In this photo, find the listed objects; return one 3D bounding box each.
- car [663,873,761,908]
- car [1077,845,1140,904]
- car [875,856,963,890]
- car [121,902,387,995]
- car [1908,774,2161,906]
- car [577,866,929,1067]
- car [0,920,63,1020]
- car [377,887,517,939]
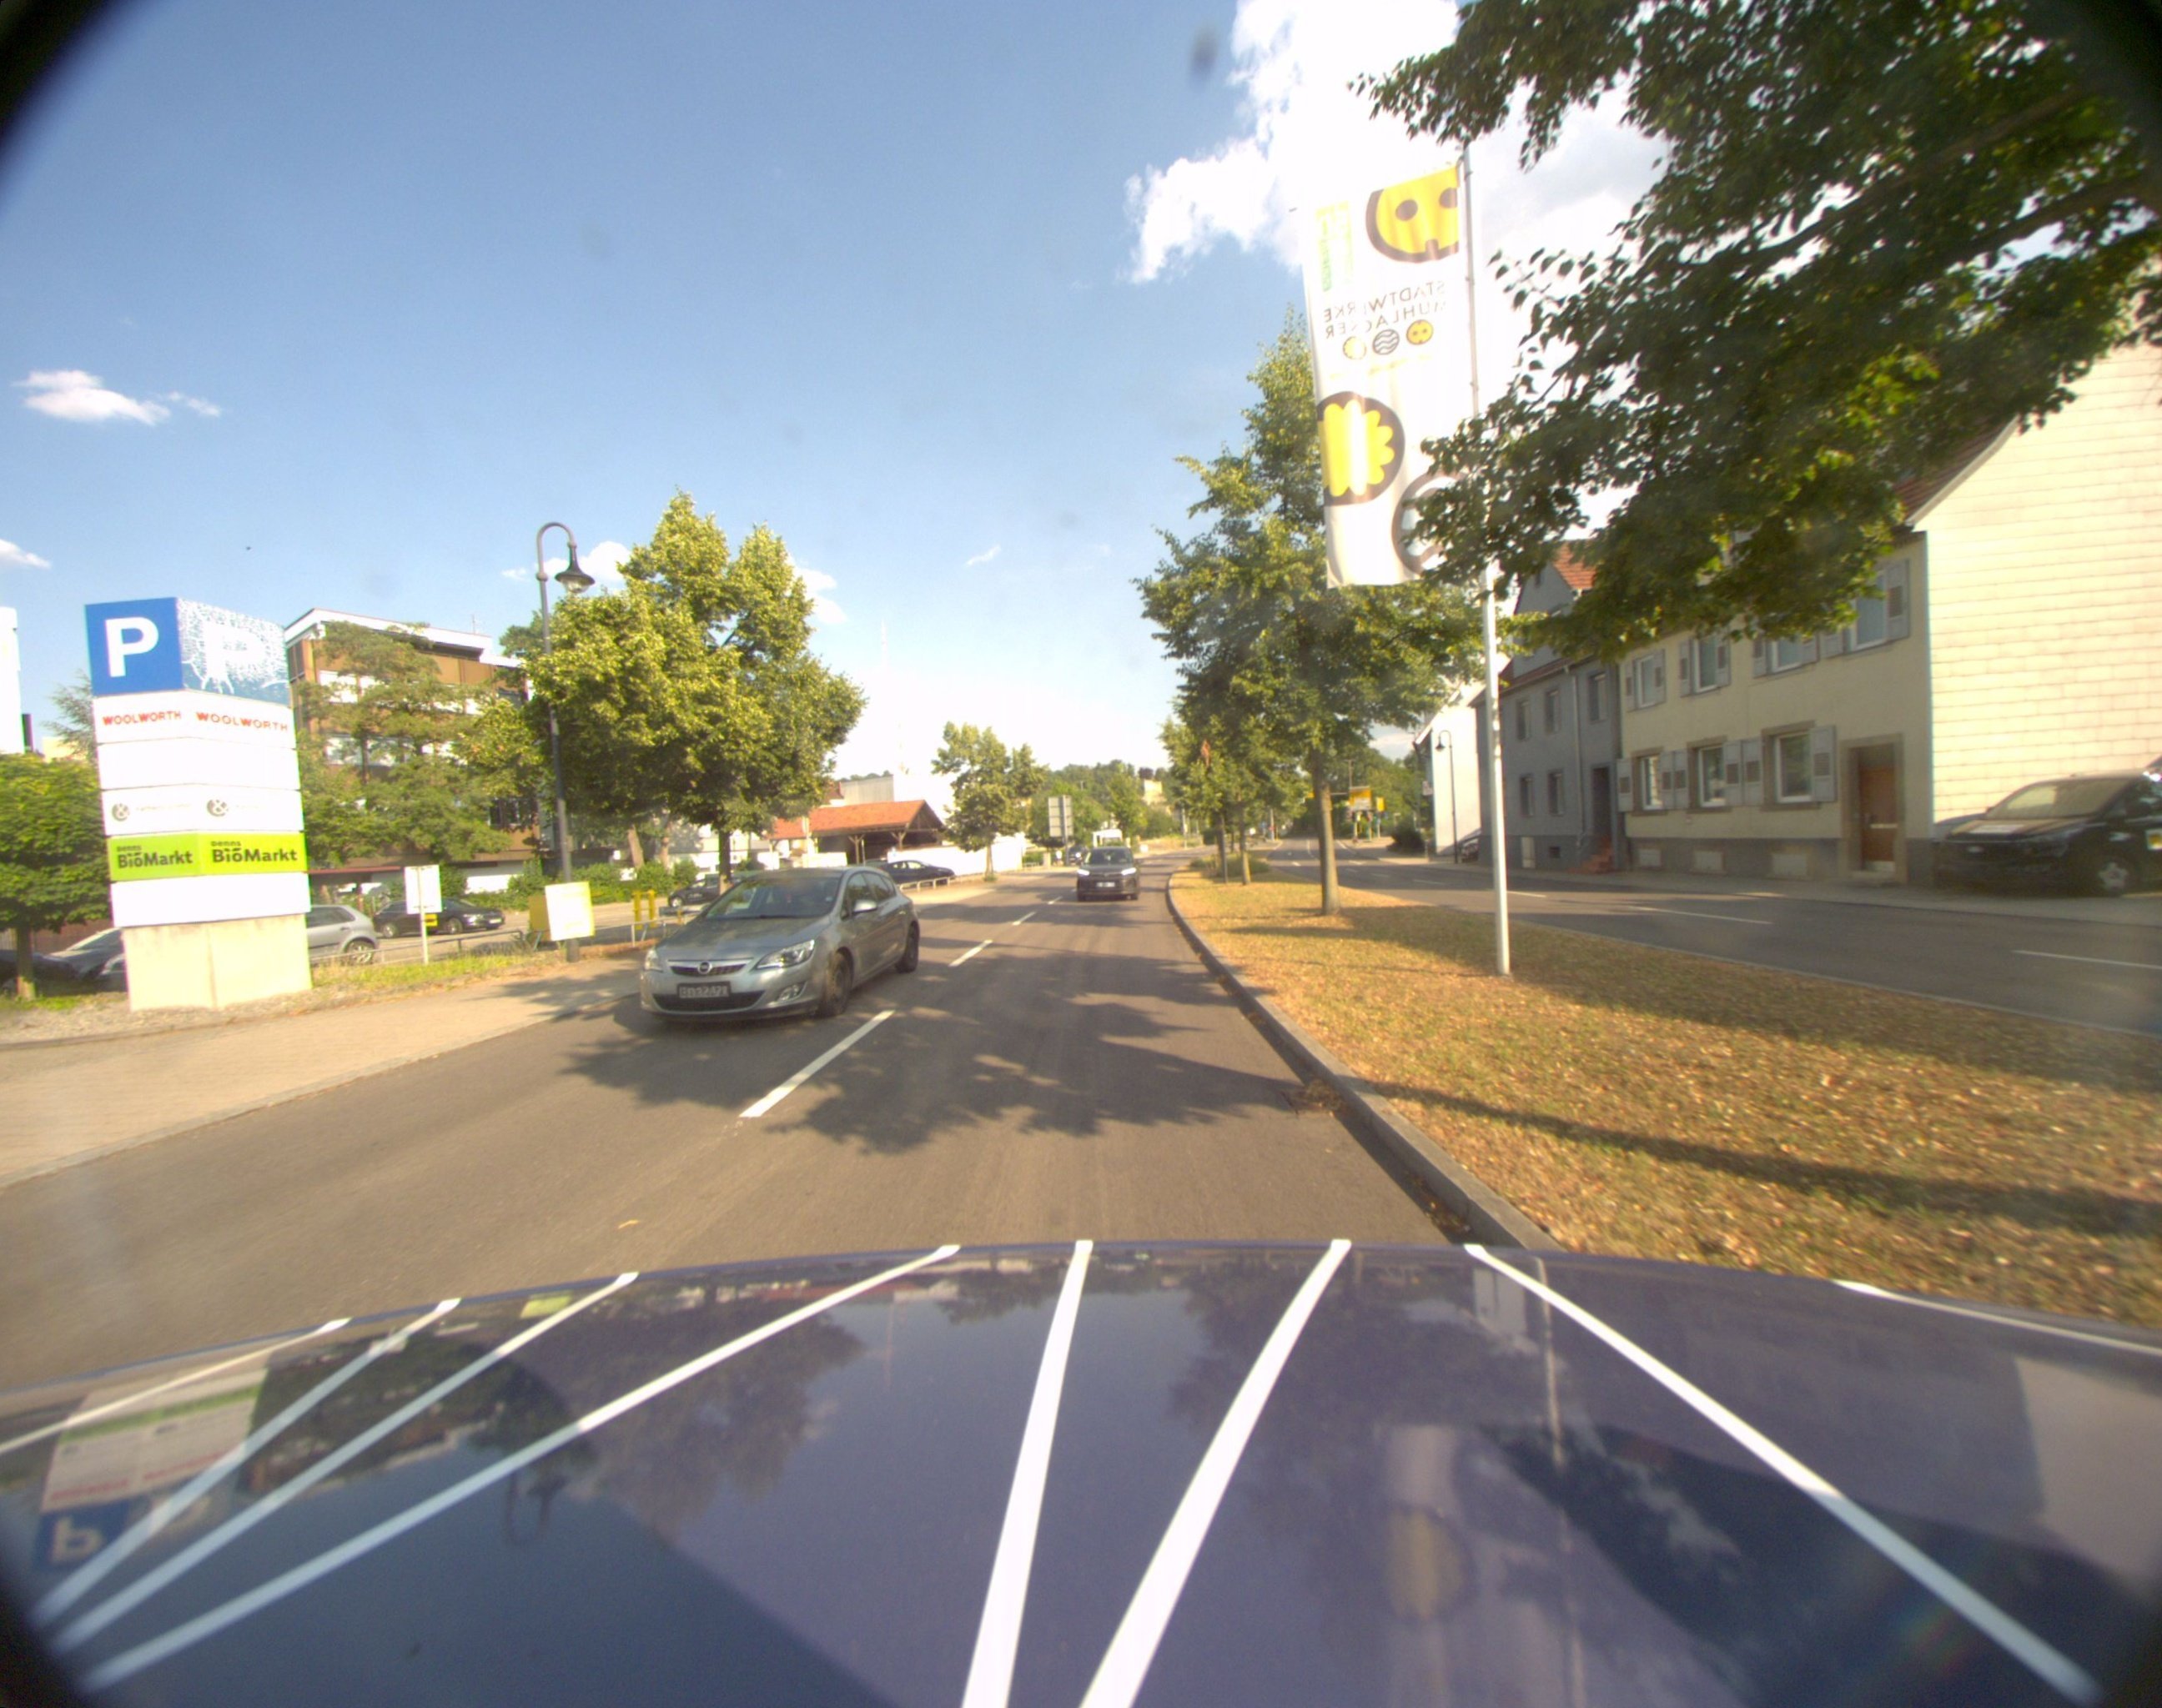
[{"bbox_3d":[-18.658,1.836,38.529,3.995,1.412,1.939,-4,1,7],"label":"car"},{"bbox_3d":[0.945,0.558,23.730,1.725,1.605,4.262,-2,1,5],"label":"car"},{"bbox_3d":[-8.133,0.937,38.297,3.833,1.412,1.939,-4,1,7],"label":"car"},{"bbox_3d":[-16.585,1.835,15.488,1.614,1.391,3.268,-4,0,7],"label":"car"},{"bbox_3d":[17.435,-0.332,12.613,4.834,1.866,2.001,-5,1,6],"label":"car"},{"bbox_3d":[-3.133,0.967,8.378,1.725,1.481,4.307,-2,0,4],"label":"car"},{"bbox_3d":[-17.406,1.856,10.326,1.656,1.454,3.868,-4,0,8],"label":"car"},{"bbox_3d":[-24.612,2.266,29.562,4.079,1.645,1.939,-4,1,10],"label":"car"}]
